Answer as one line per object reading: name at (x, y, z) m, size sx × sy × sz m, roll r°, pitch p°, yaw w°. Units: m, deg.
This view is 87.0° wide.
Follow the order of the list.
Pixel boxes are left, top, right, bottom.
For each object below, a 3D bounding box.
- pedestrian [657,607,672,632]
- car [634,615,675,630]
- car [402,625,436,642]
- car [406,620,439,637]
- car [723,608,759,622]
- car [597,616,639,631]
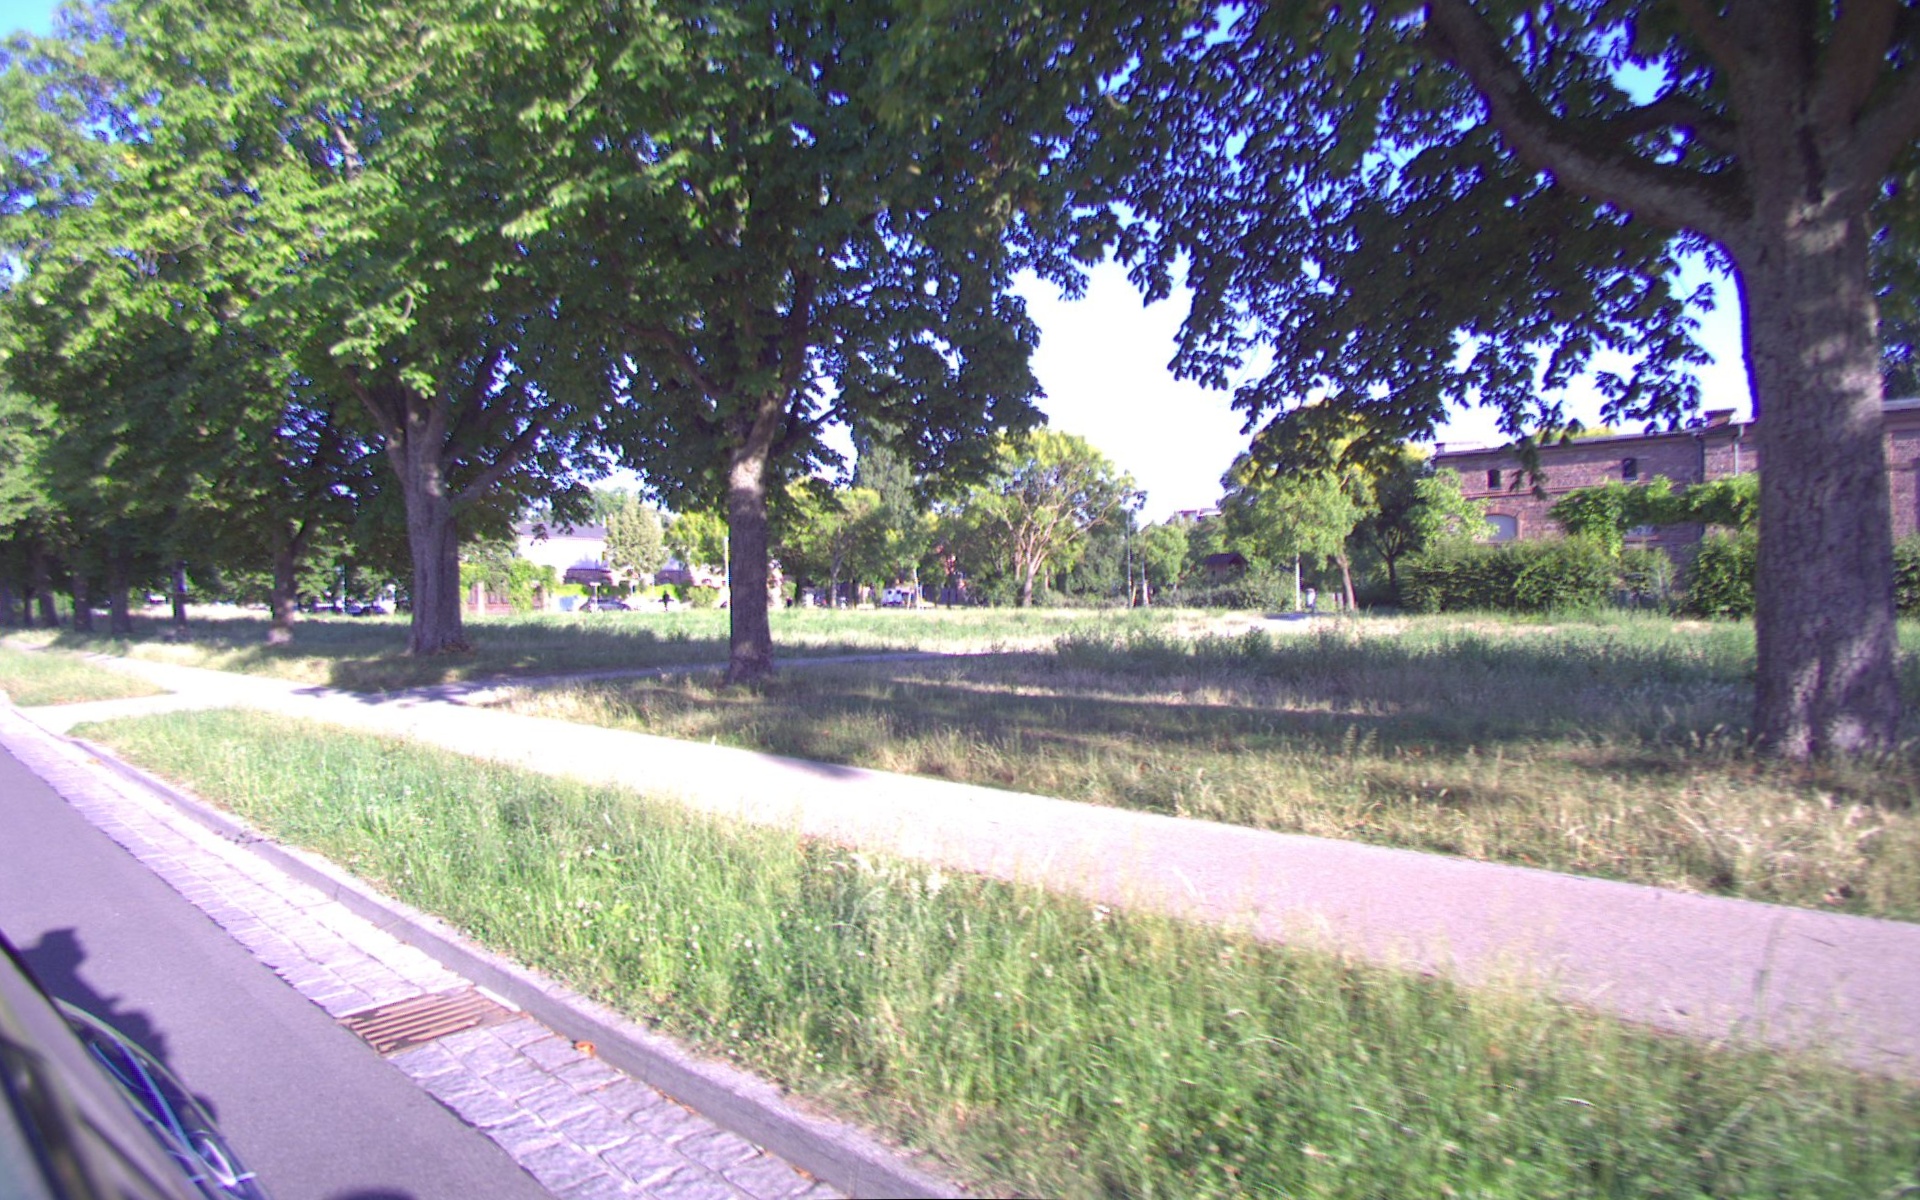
pedestrian at (-20.426, 1.343, 70.014) m, size 0.709 × 1.737 × 0.774 m, roll -1°, pitch 1°, yaw 13°
car at (-30.799, 2.230, 102.073) m, size 1.586 × 1.289 × 3.589 m, roll 0°, pitch 1°, yaw 43°
car at (-50.204, 3.080, 93.881) m, size 3.639 × 1.492 × 1.564 m, roll 0°, pitch 1°, yaw 42°
car at (-55.631, 2.901, 104.696) m, size 3.998 × 1.641 × 1.744 m, roll -1°, pitch 1°, yaw 41°
car at (-23.942, 1.622, 110.735) m, size 1.586 × 1.289 × 3.589 m, roll 0°, pitch 1°, yaw 43°
car at (-33.398, 2.252, 98.798) m, size 1.586 × 1.289 × 3.589 m, roll 0°, pitch 1°, yaw 43°
